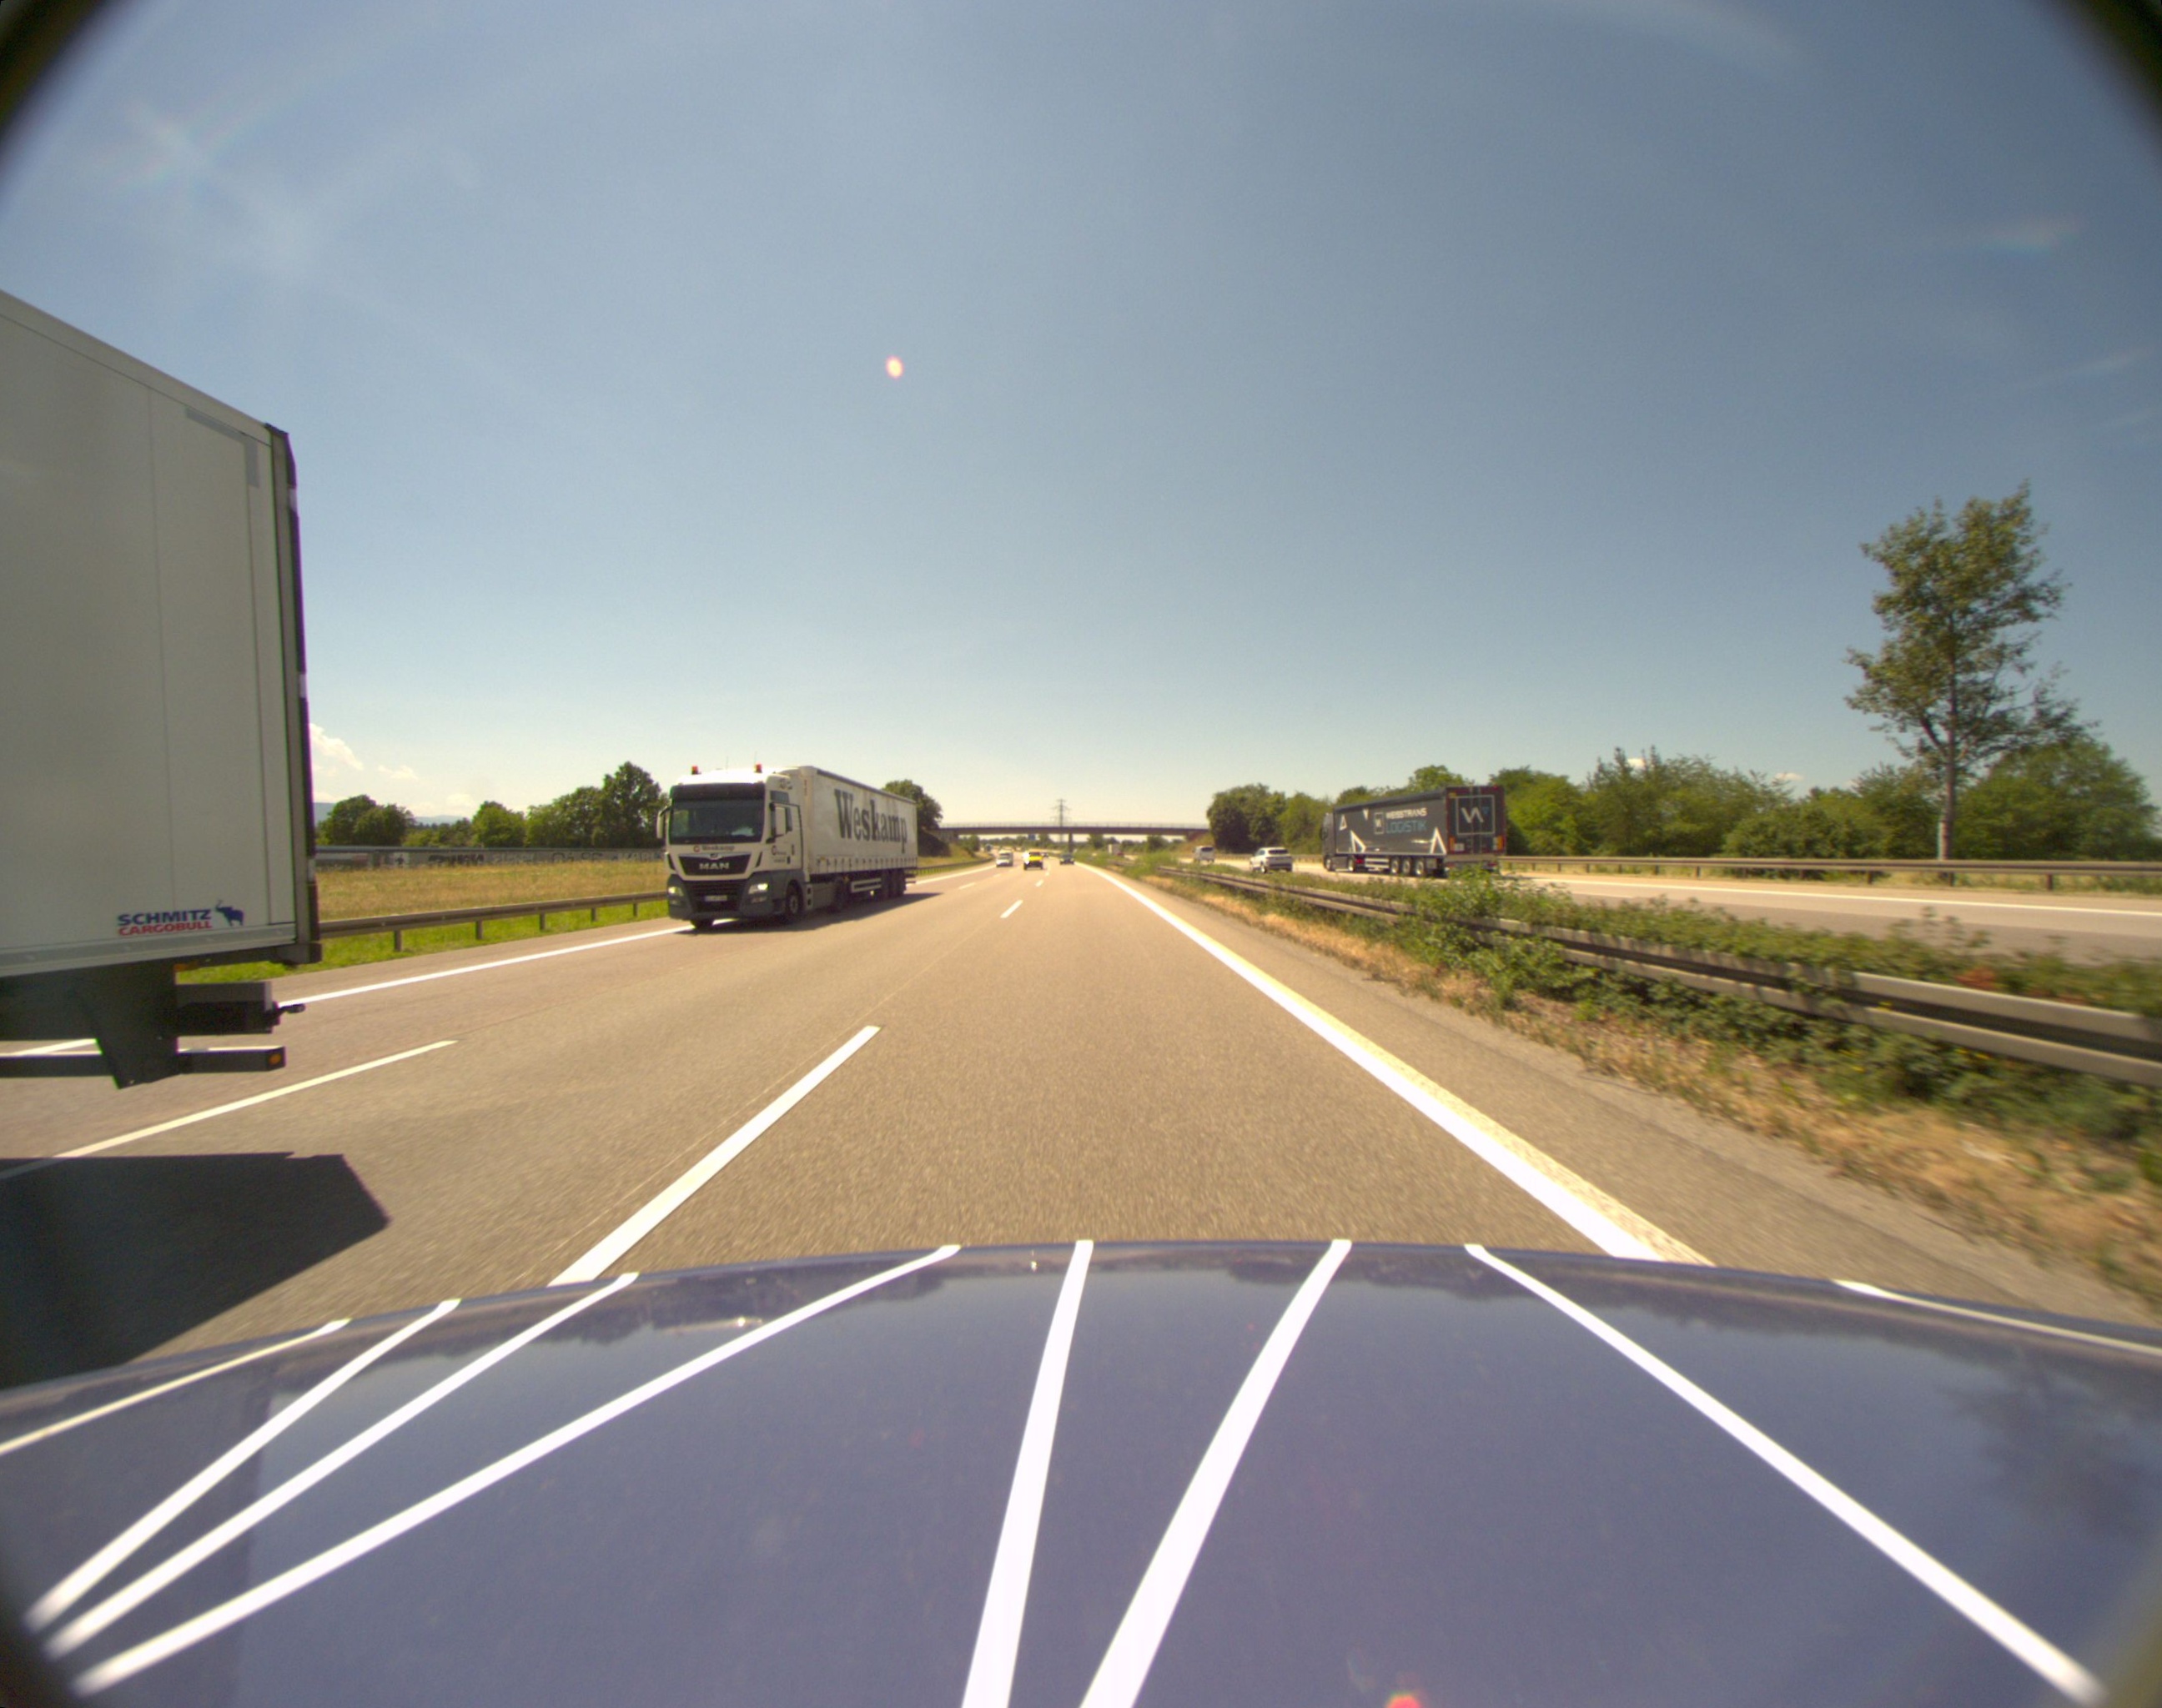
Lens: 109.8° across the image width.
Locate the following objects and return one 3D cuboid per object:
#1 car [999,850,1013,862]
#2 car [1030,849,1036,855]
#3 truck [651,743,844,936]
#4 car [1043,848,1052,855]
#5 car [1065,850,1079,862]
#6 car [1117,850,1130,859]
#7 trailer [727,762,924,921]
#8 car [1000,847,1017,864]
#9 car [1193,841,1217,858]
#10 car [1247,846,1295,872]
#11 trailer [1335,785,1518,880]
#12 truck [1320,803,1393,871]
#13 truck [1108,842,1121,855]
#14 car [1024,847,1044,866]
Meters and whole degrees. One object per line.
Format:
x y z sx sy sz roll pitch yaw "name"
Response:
-9.748 0.237 98.525 1.785 1.467 3.997 0 1 -6 "car"
-13.073 -0.609 207.501 1.650 1.557 3.597 0 1 -6 "car"
-8.242 -0.333 19.526 2.607 4.231 5.088 -2 1 -1 "truck"
-8.750 -0.755 198.006 2.000 1.707 3.997 0 1 -6 "car"
-1.173 0.294 100.157 1.726 1.478 3.999 -1 0 -1 "car"
7.204 0.128 127.715 1.698 1.483 4.136 -1 1 -3 "car"
-8.317 -0.318 27.347 2.602 4.226 13.639 -2 0 -1 "trailer"
-10.073 0.135 105.212 2.189 2.253 4.948 0 1 -6 "car"
15.420 -0.561 94.705 2.063 2.059 5.407 -1 1 -1 "car"
12.147 0.290 48.826 1.847 1.577 4.486 -1 0 -1 "car"
16.795 -0.953 38.836 2.888 3.925 14.055 -1 0 0 "trailer"
16.720 -1.006 46.390 2.901 3.893 3.999 -1 1 -1 "truck"
8.483 -1.331 192.513 2.458 3.081 6.987 -1 1 -3 "truck"
-4.677 0.221 75.898 1.777 1.882 3.831 0 1 -1 "car"
